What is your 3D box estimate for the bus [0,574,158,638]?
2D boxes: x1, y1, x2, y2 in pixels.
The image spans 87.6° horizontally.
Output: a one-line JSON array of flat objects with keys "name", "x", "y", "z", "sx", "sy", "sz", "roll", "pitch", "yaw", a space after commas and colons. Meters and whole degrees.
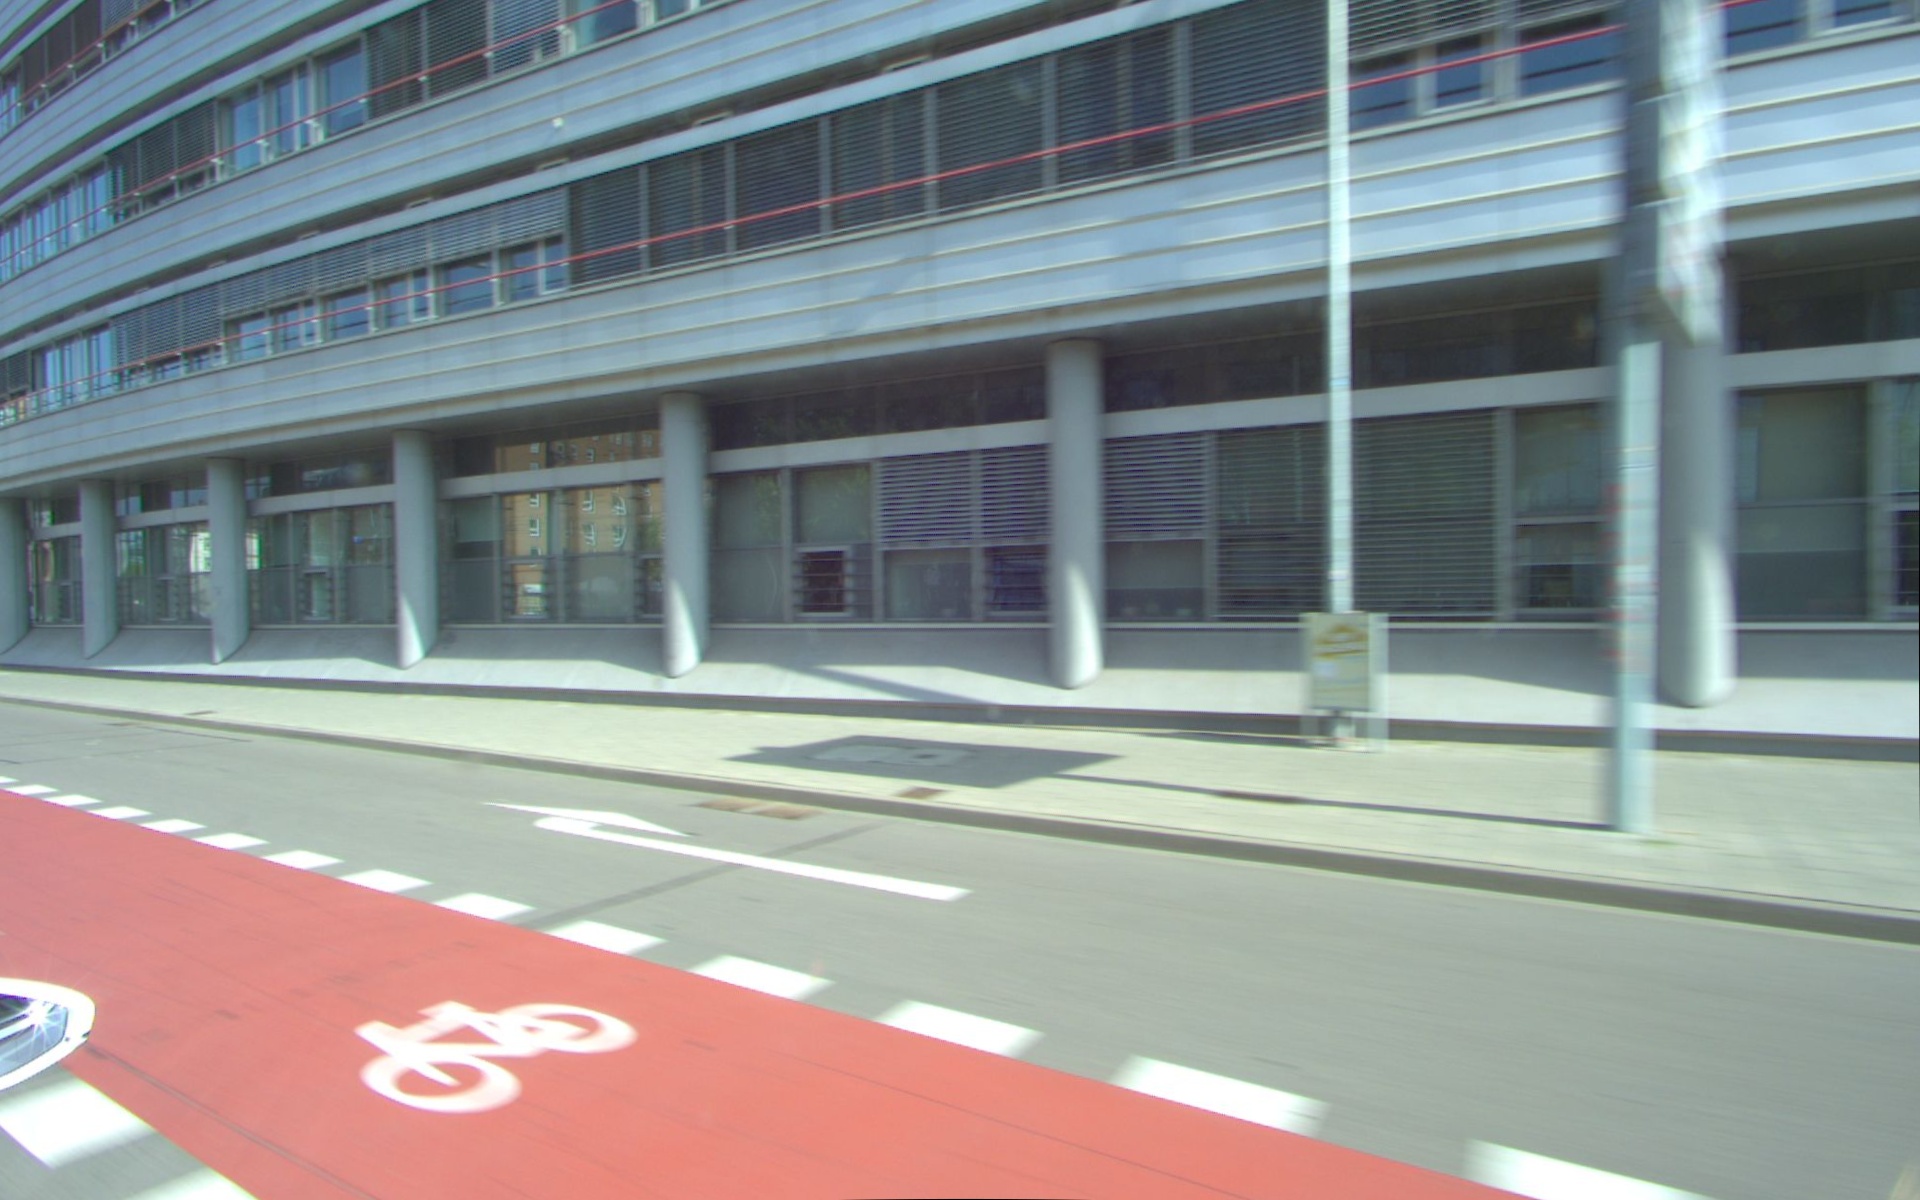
[{"name": "bus", "x": -59.046, "y": 0.406, "z": 60.411, "sx": 2.816, "sy": 3.860, "sz": 17.629, "roll": -2, "pitch": -1, "yaw": 20}]
